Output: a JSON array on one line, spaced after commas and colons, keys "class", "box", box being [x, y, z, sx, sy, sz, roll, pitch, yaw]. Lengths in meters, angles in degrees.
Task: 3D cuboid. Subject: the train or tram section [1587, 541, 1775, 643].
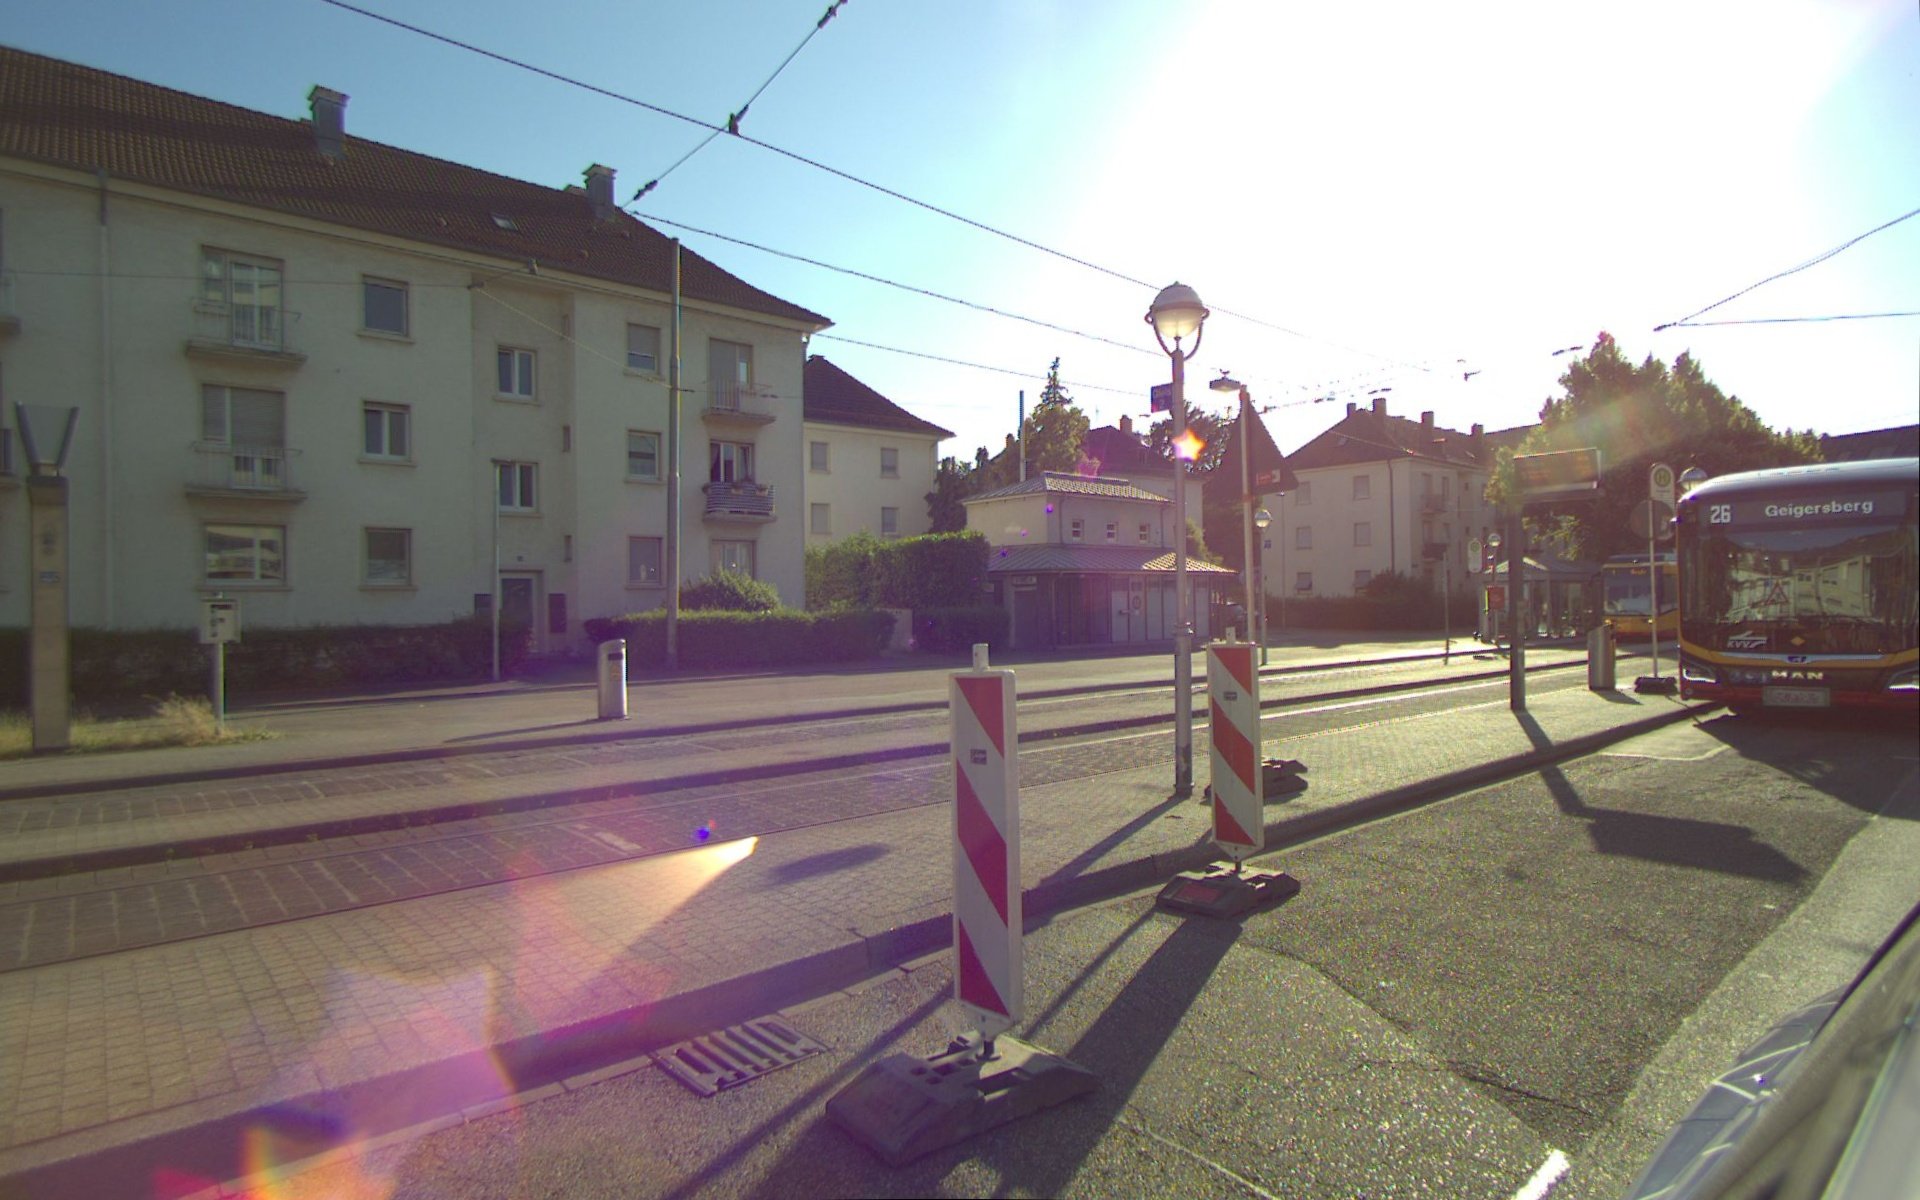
[{"class": "train or tram section", "box": [30.041, -0.515, 41.629, 15.698, 3.578, 2.961, -2, 2, -42]}]

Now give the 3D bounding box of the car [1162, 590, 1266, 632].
[{"class": "car", "box": [11.680, 0.447, 46.807, 1.963, 1.791, 4.451, -1, 1, -37]}]

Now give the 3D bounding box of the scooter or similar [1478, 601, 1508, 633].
[{"class": "scooter or similar", "box": [20.710, 0.643, 39.293, 1.185, 1.223, 0.468, -1, 0, -30]}]

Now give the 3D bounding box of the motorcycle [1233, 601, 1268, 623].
[{"class": "motorcycle", "box": [15.790, 0.669, 54.998, 0.549, 1.177, 1.823, 0, 0, -43]}]

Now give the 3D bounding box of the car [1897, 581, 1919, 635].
[{"class": "car", "box": [31.799, 0.248, 32.571, 3.930, 1.695, 1.997, 0, 0, -41]}]

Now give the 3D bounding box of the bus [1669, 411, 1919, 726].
[{"class": "bus", "box": [14.303, -0.373, 15.752, 11.810, 3.460, 2.692, 0, 0, -42]}]
